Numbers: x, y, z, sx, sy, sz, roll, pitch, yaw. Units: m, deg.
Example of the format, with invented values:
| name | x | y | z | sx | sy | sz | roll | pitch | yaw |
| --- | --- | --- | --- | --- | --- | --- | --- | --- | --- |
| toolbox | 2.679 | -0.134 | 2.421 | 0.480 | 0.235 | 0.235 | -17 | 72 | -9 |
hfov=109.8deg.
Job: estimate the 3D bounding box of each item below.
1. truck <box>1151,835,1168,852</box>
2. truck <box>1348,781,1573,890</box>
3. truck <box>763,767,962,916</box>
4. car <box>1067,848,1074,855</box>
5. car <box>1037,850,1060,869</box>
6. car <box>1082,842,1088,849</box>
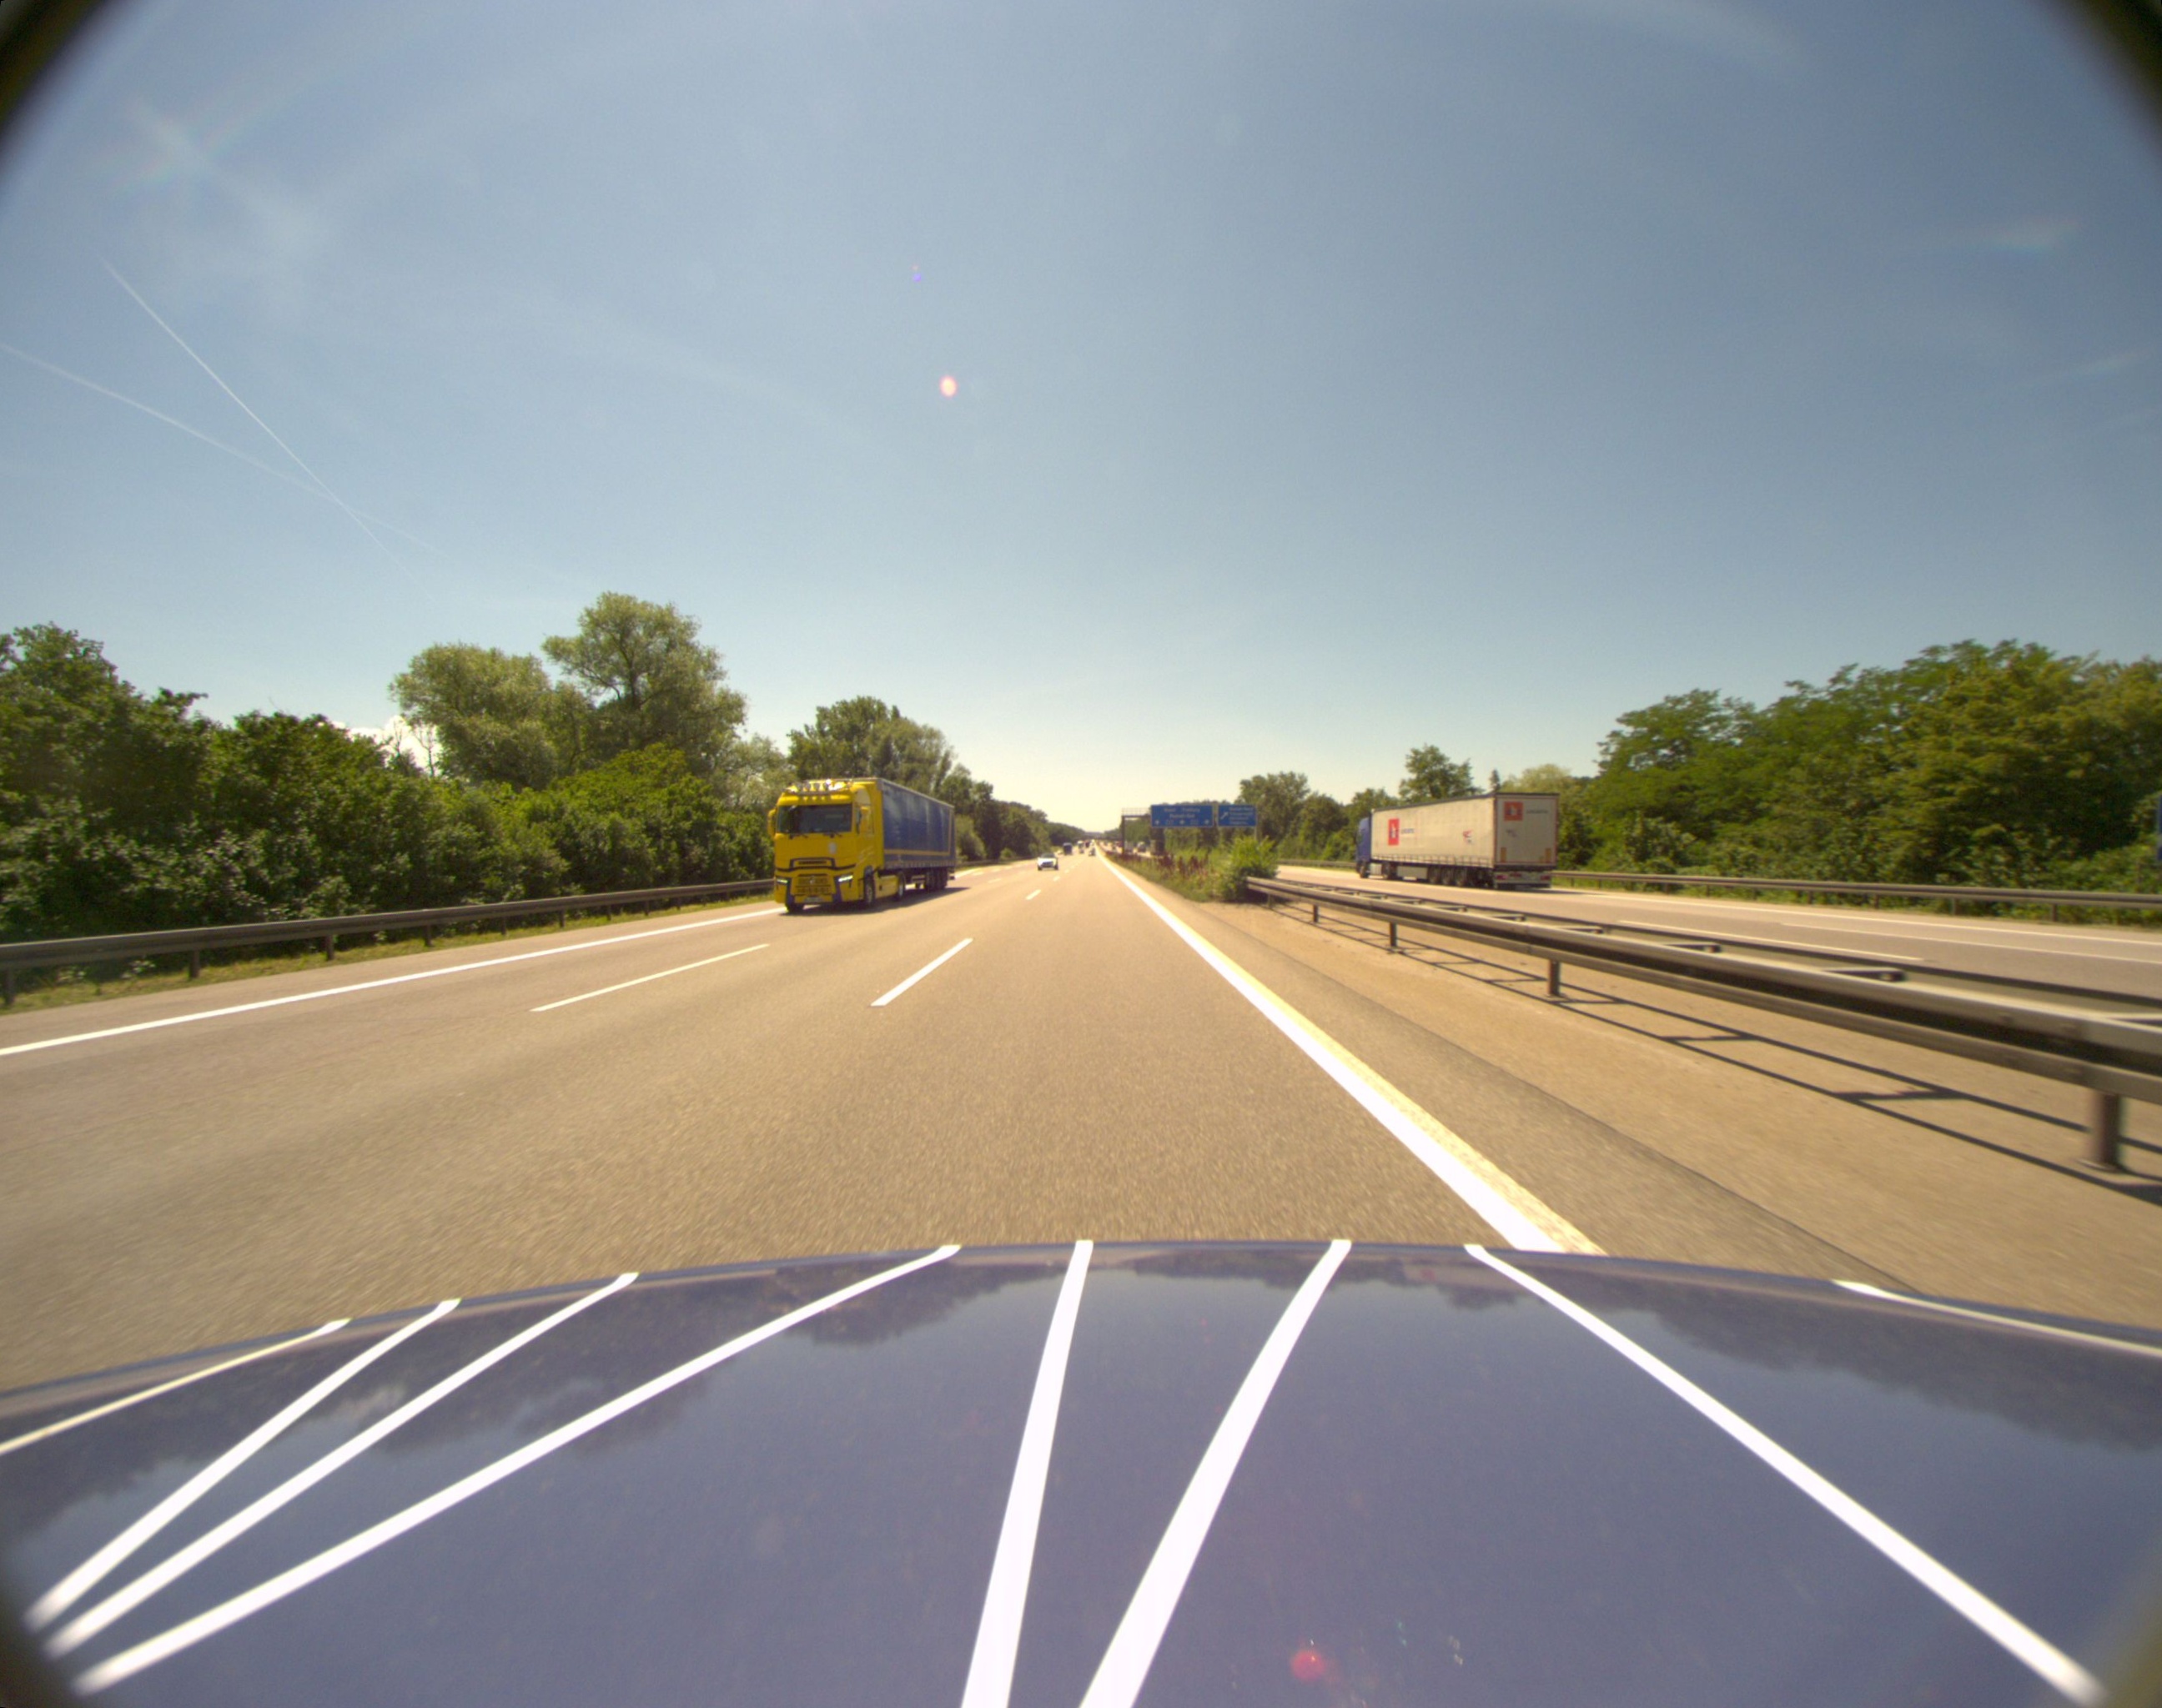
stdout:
| name | x | y | z | sx | sy | sz | roll | pitch | yaw |
| --- | --- | --- | --- | --- | --- | --- | --- | --- | --- |
| truck | 21.424 | -2.809 | 207.355 | 2.962 | 4.317 | 18.239 | 0 | 1 | 1 |
| truck | 18.123 | -0.833 | 38.917 | 2.962 | 4.317 | 17.468 | 0 | 1 | 1 |
| truck | -7.570 | -0.511 | 30.179 | 2.852 | 4.233 | 16.787 | -1 | 1 | 1 |
| car | -3.193 | -0.847 | 232.364 | 1.999 | 2.002 | 3.999 | 0 | 1 | 0 |
| car | -2.989 | 0.461 | 70.610 | 1.845 | 1.565 | 3.999 | -2 | 1 | 2 |
| car | 1.370 | -2.877 | 254.609 | 1.840 | 2.002 | 3.999 | -1 | 1 | 2 |
